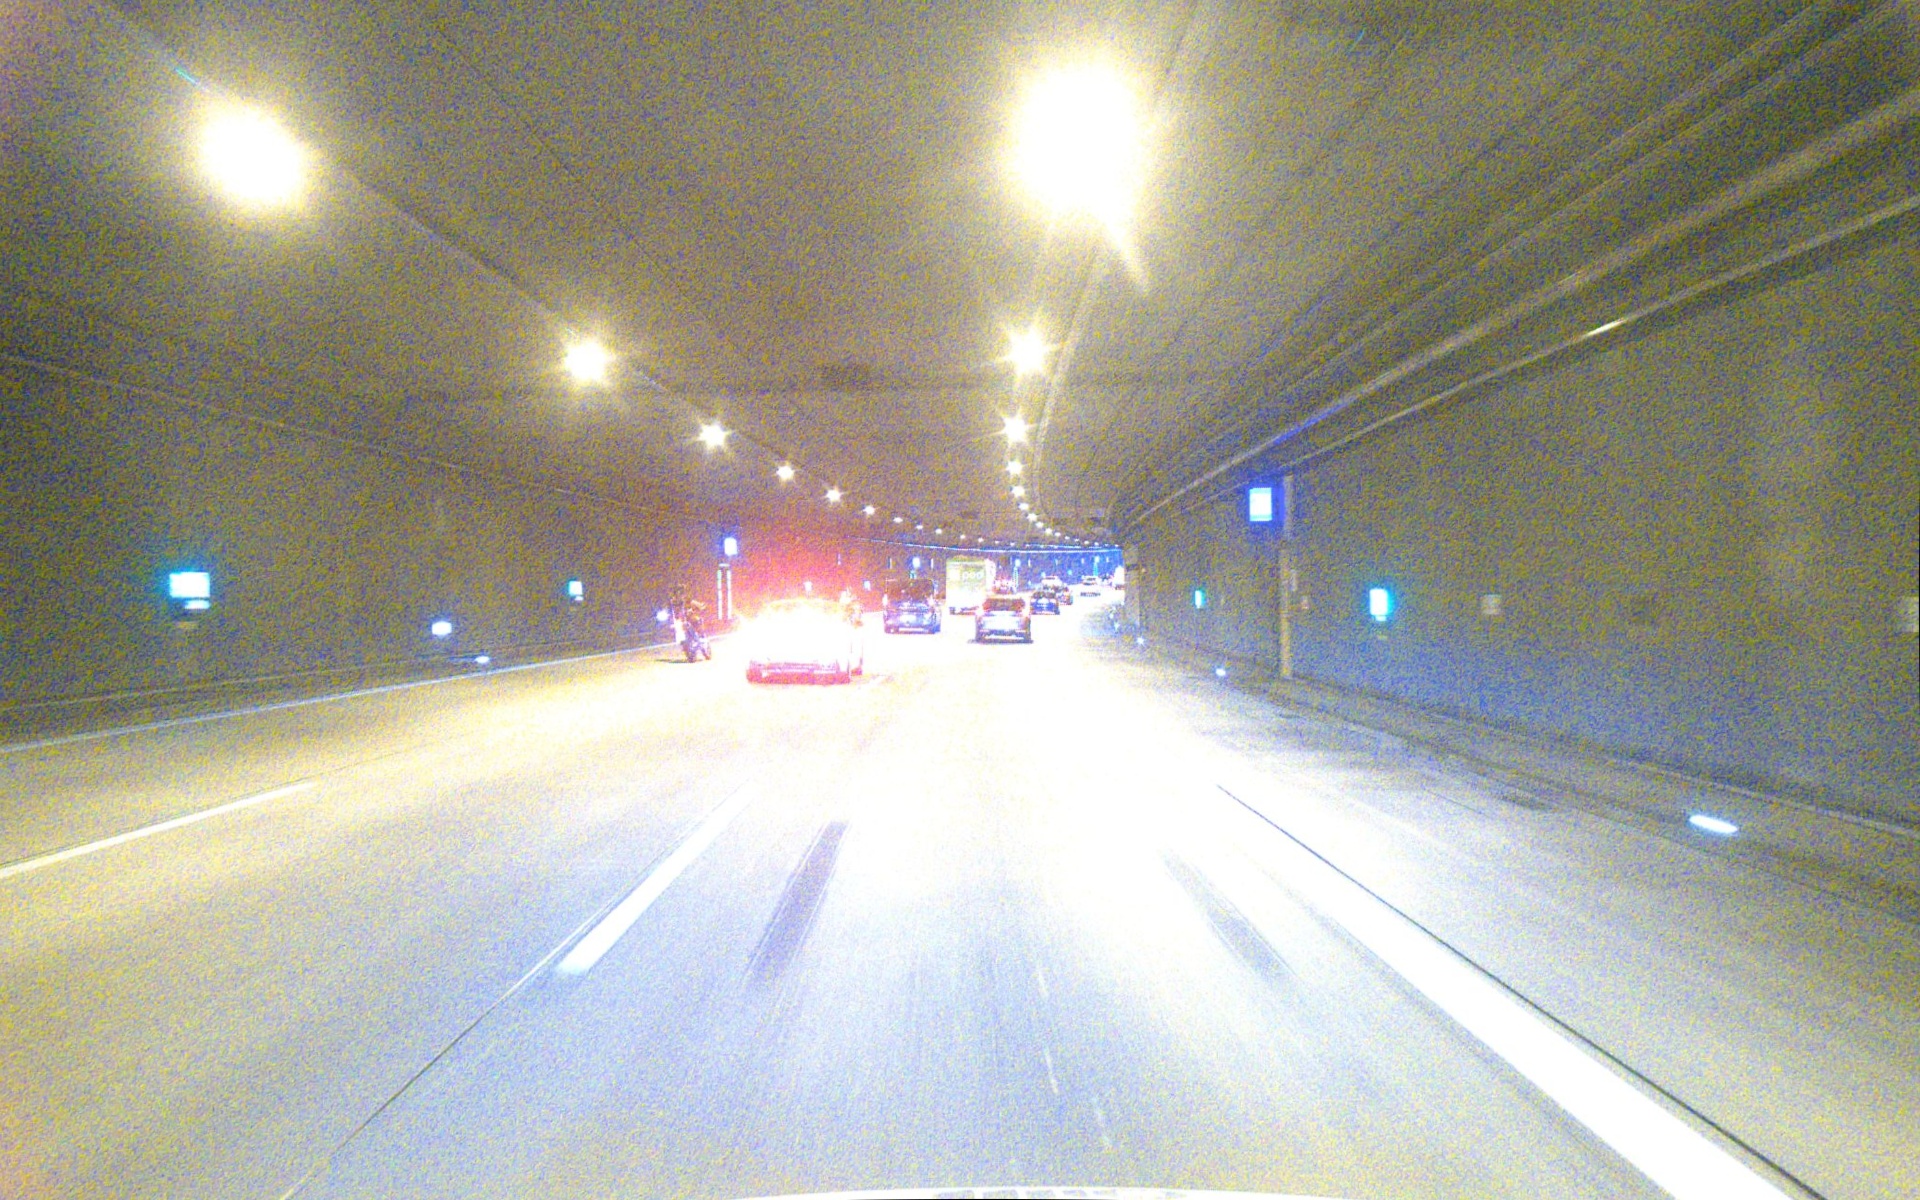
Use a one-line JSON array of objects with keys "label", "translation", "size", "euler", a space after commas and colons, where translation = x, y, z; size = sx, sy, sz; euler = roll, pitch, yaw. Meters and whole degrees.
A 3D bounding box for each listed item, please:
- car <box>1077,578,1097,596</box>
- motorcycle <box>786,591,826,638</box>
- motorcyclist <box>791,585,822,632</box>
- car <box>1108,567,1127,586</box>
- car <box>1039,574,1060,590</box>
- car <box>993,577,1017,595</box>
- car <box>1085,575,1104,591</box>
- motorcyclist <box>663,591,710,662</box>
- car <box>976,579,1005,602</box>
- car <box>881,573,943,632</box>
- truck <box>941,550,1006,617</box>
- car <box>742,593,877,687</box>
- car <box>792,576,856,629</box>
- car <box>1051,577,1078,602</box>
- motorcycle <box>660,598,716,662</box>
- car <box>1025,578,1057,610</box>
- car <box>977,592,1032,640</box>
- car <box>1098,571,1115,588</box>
[{"label": "car", "translation": [12.562, -1.249, 163.714], "size": [1.889, 1.671, 4.003], "euler": [1, 0, 6]}, {"label": "motorcycle", "translation": [-4.945, 0.468, 53.278], "size": [0.907, 1.459, 2.964], "euler": [1, 0, 1]}, {"label": "motorcyclist", "translation": [-4.933, 0.291, 53.281], "size": [0.789, 1.473, 1.865], "euler": [1, -1, 1]}, {"label": "car", "translation": [18.650, -2.769, 195.725], "size": [1.951, 2.049, 4.003], "euler": [1, 0, 9]}, {"label": "car", "translation": [10.059, -1.997, 185.340], "size": [1.889, 1.671, 4.003], "euler": [1, 0, 10]}, {"label": "car", "translation": [4.116, -1.271, 151.635], "size": [1.889, 1.671, 4.003], "euler": [0, 0, 6]}, {"label": "car", "translation": [15.417, -1.939, 189.357], "size": [1.951, 1.660, 4.003], "euler": [1, 0, 6]}, {"label": "motorcyclist", "translation": [-5.833, 0.559, 35.348], "size": [0.761, 1.478, 1.069], "euler": [1, -1, 3]}, {"label": "car", "translation": [2.346, -0.736, 125.374], "size": [1.951, 1.660, 4.003], "euler": [1, 0, 5]}, {"label": "car", "translation": [-1.697, 0.060, 60.232], "size": [1.869, 1.978, 3.874], "euler": [0, 2, 4]}, {"label": "truck", "translation": [0.840, -0.950, 96.370], "size": [2.974, 3.737, 7.398], "euler": [0, 0, 7]}, {"label": "car", "translation": [-2.592, 0.639, 29.633], "size": [1.666, 1.443, 5.063], "euler": [0, 1, 3]}, {"label": "car", "translation": [-5.424, 0.091, 66.489], "size": [1.951, 2.049, 4.002], "euler": [0, 0, 4]}, {"label": "car", "translation": [7.979, -0.762, 126.112], "size": [1.909, 1.803, 4.002], "euler": [1, 0, 5]}, {"label": "motorcycle", "translation": [-5.820, 0.623, 35.497], "size": [0.668, 1.319, 2.399], "euler": [1, 0, 3]}, {"label": "car", "translation": [4.846, -0.360, 98.383], "size": [1.818, 1.887, 4.002], "euler": [0, 0, 4]}, {"label": "car", "translation": [1.456, 0.498, 52.918], "size": [1.706, 1.490, 3.872], "euler": [0, 0, 2]}, {"label": "car", "translation": [18.137, -2.521, 204.431], "size": [1.951, 2.049, 4.003], "euler": [1, 0, 7]}]
